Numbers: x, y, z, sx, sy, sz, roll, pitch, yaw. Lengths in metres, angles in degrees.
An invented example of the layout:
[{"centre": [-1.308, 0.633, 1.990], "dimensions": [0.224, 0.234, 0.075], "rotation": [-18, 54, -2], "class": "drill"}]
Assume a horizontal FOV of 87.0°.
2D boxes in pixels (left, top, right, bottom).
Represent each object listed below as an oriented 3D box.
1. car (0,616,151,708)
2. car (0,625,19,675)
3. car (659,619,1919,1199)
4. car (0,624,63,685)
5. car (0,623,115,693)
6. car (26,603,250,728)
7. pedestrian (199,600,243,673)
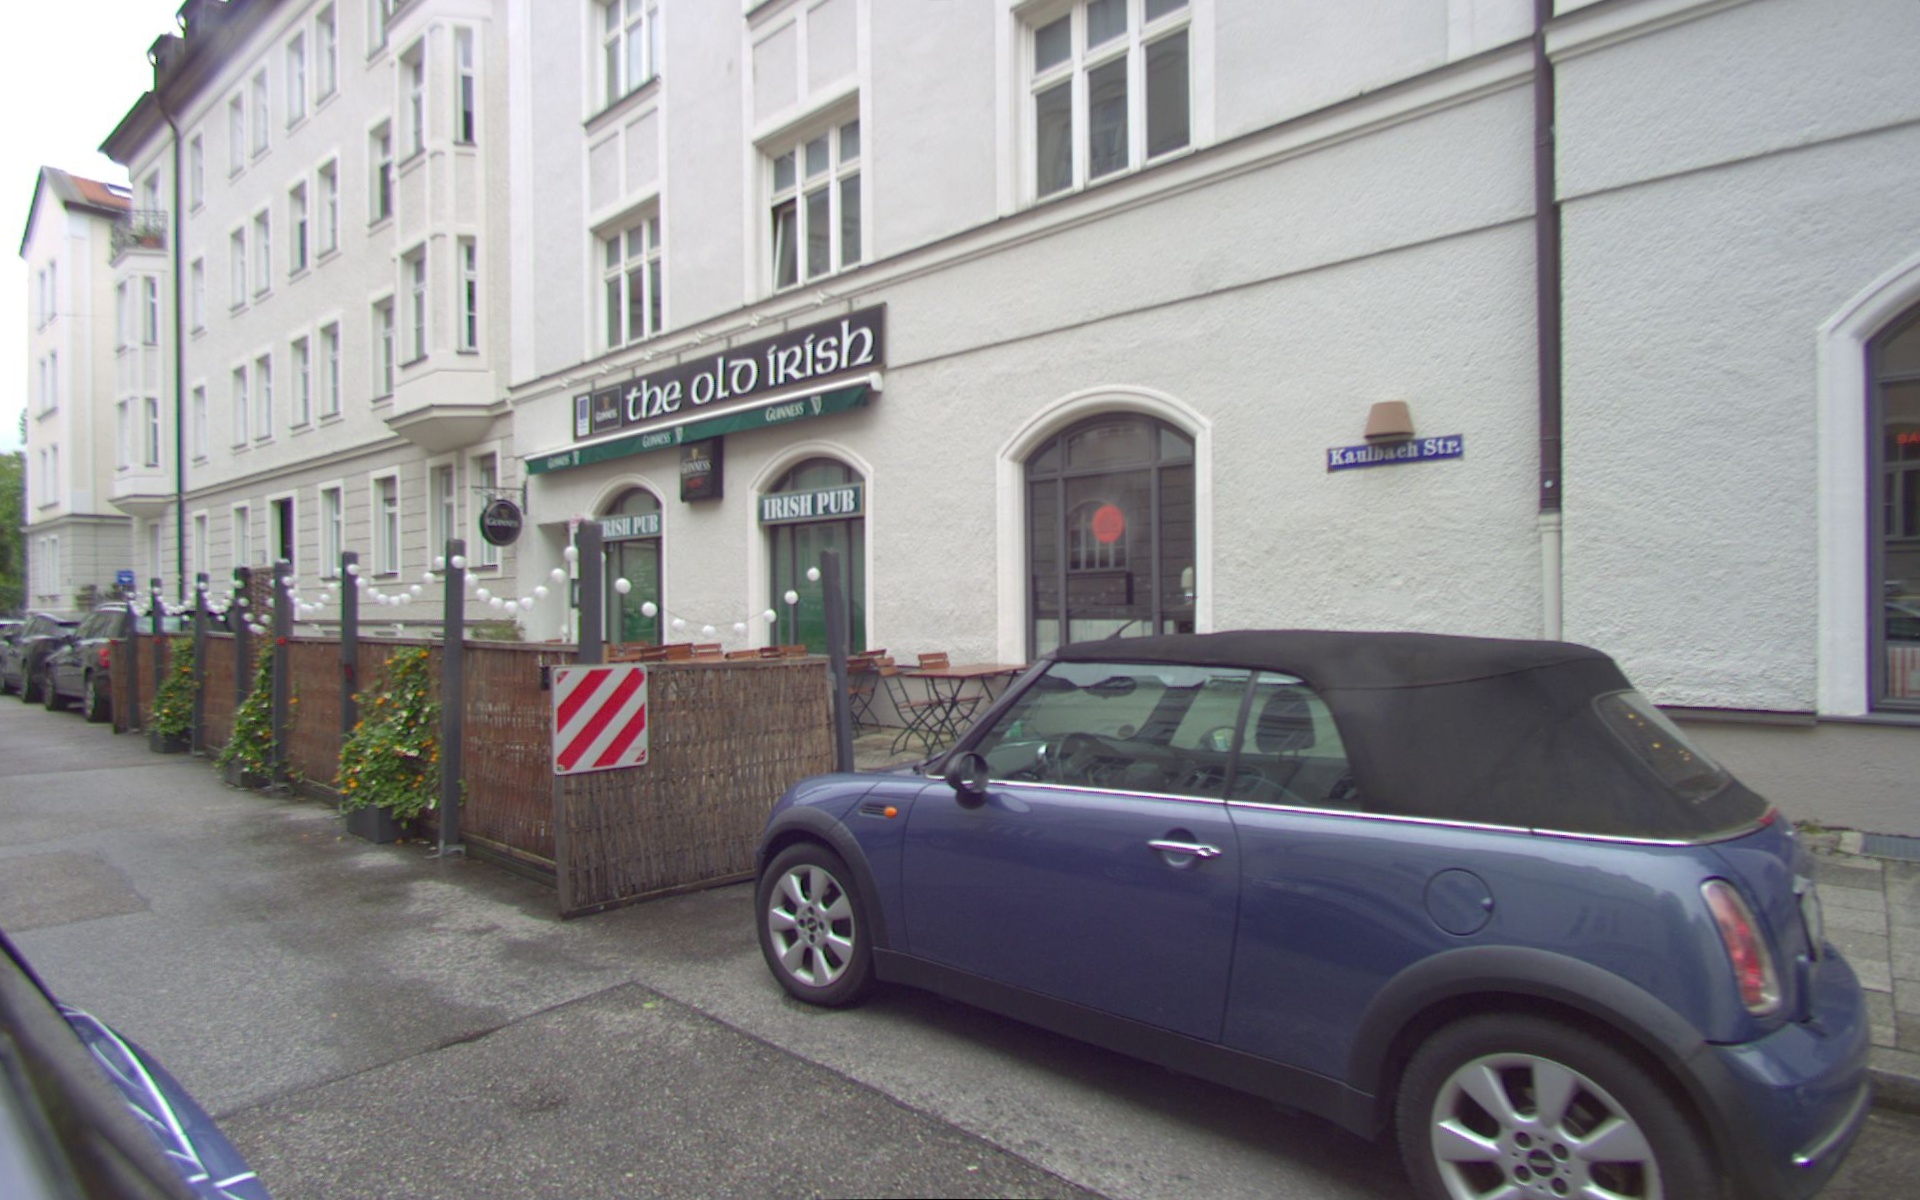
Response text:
[{"centre": [-16.563, 1.054, 18.648], "dimensions": [4.176, 1.498, 1.725], "rotation": [-1, -1, 39], "class": "car"}, {"centre": [-28.839, 1.423, 29.111], "dimensions": [4.694, 1.377, 1.832], "rotation": [-1, -1, 37], "class": "car"}, {"centre": [0.744, 0.786, 3.597], "dimensions": [4.000, 1.401, 1.688], "rotation": [-1, -2, 43], "class": "car"}, {"centre": [-24.269, 1.326, 25.492], "dimensions": [4.506, 1.430, 1.776], "rotation": [-1, -3, 39], "class": "car"}, {"centre": [-20.552, 1.229, 22.389], "dimensions": [4.434, 1.396, 1.794], "rotation": [-1, -2, 36], "class": "car"}, {"centre": [-12.764, 0.967, 15.633], "dimensions": [4.270, 1.686, 1.729], "rotation": [-1, -4, 38], "class": "car"}, {"centre": [-17.676, 0.866, 24.210], "dimensions": [0.654, 1.720, 0.702], "rotation": [-1, -1, -18], "class": "pedestrian"}]
